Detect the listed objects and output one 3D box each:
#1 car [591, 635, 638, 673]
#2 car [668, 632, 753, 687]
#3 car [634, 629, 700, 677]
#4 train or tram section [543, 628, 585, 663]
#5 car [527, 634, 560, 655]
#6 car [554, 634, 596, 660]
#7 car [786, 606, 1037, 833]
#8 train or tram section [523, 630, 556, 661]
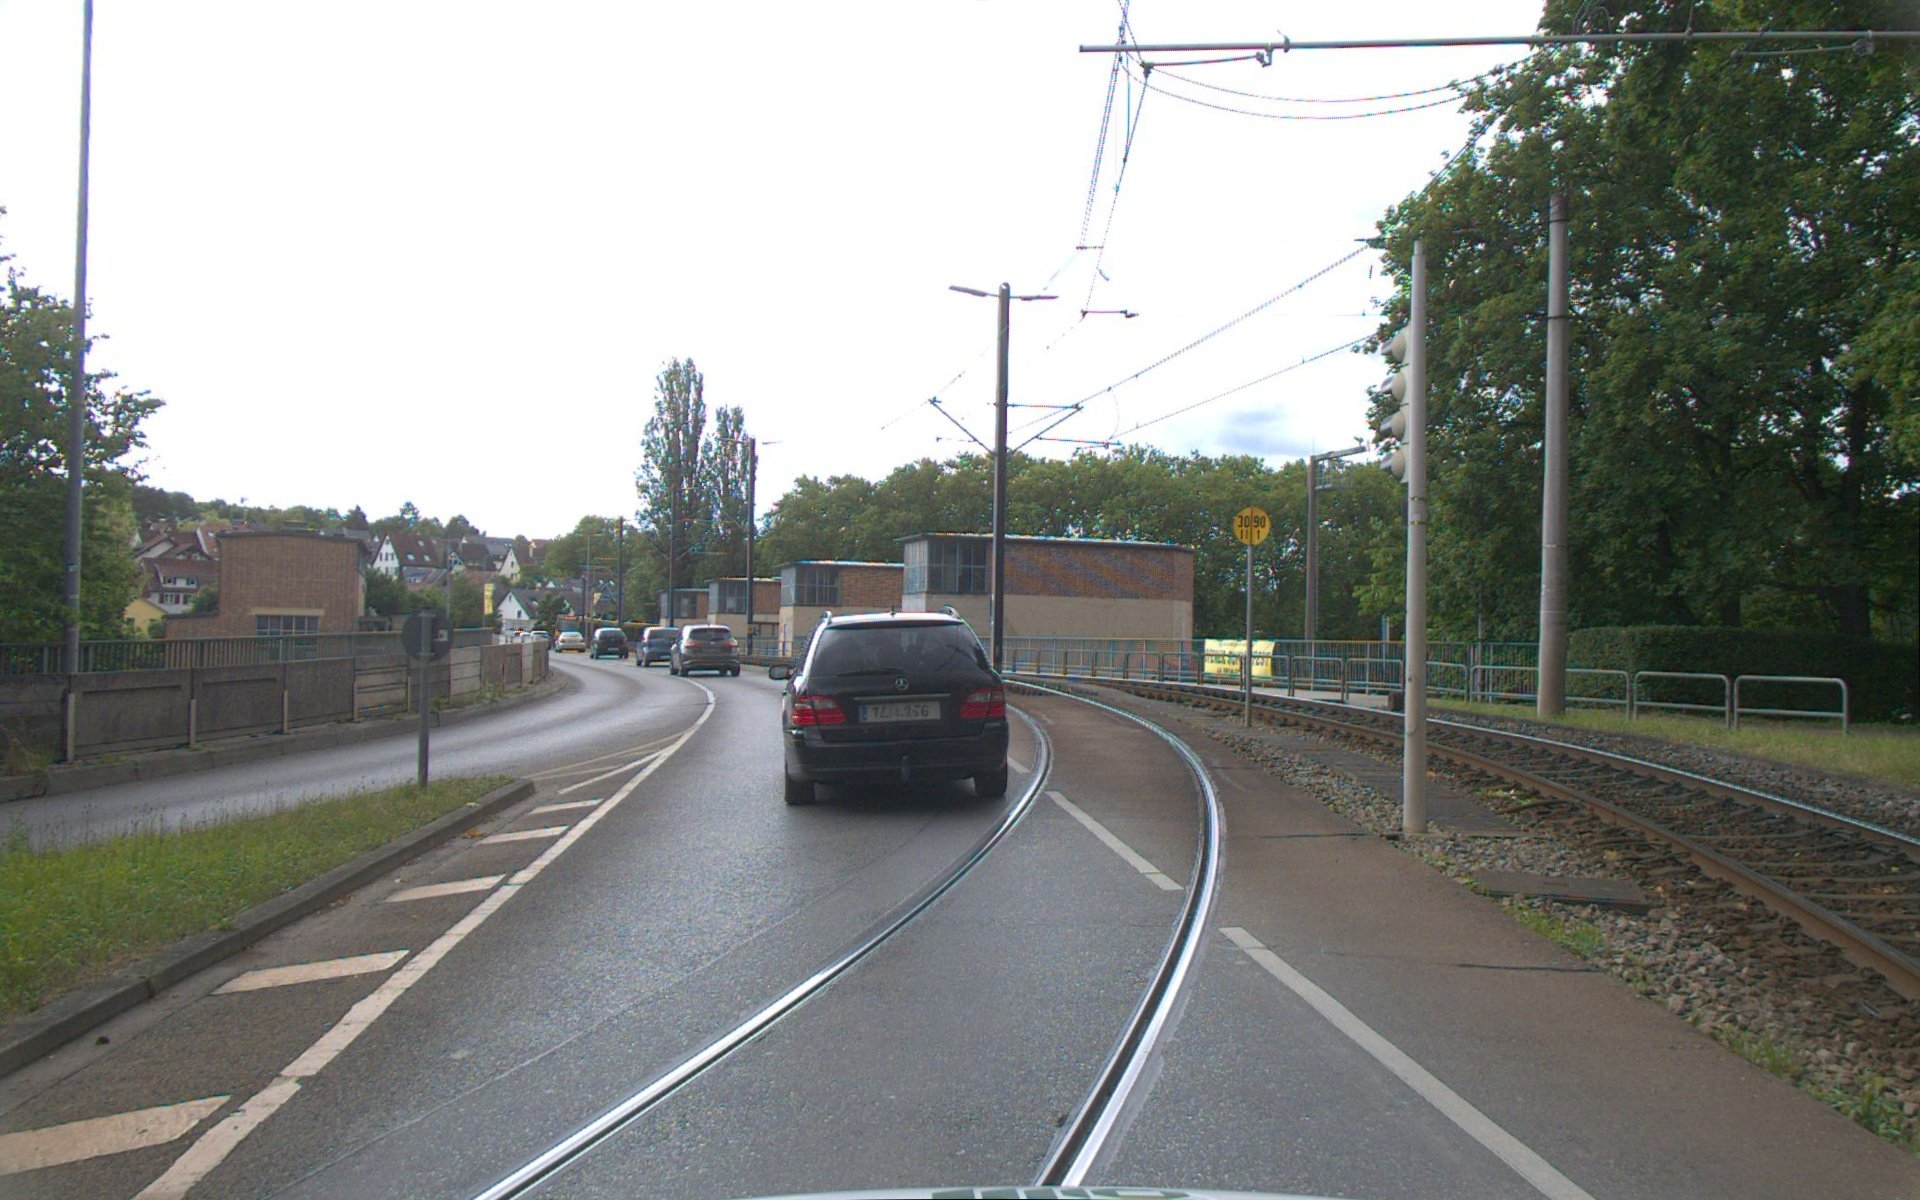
[{"bbox_3d":[-16.880,2.624,80.752,1.961,1.702,4.521,-2,0,-15],"label":"car"},{"bbox_3d":[-7.528,1.755,49.544,1.744,1.583,4.215,0,-2,-20],"label":"car"},{"bbox_3d":[-11.193,1.976,62.960,1.961,1.591,4.976,-2,0,-15],"label":"car"},{"bbox_3d":[-43.533,4.958,181.369,2.838,3.571,18.565,-1,-1,-18],"label":"train or tram section"},{"bbox_3d":[-32.531,3.463,129.102,1.964,1.598,4.876,1,-2,-20],"label":"car"},{"bbox_3d":[-24.829,2.991,106.484,1.965,1.598,4.874,1,-2,-21],"label":"car"},{"bbox_3d":[-0.413,0.844,13.687,1.723,1.542,4.440,-1,0,-2],"label":"car"},{"bbox_3d":[-55.307,6.083,217.266,2.742,3.720,19.784,-1,-2,-18],"label":"train or tram section"}]
